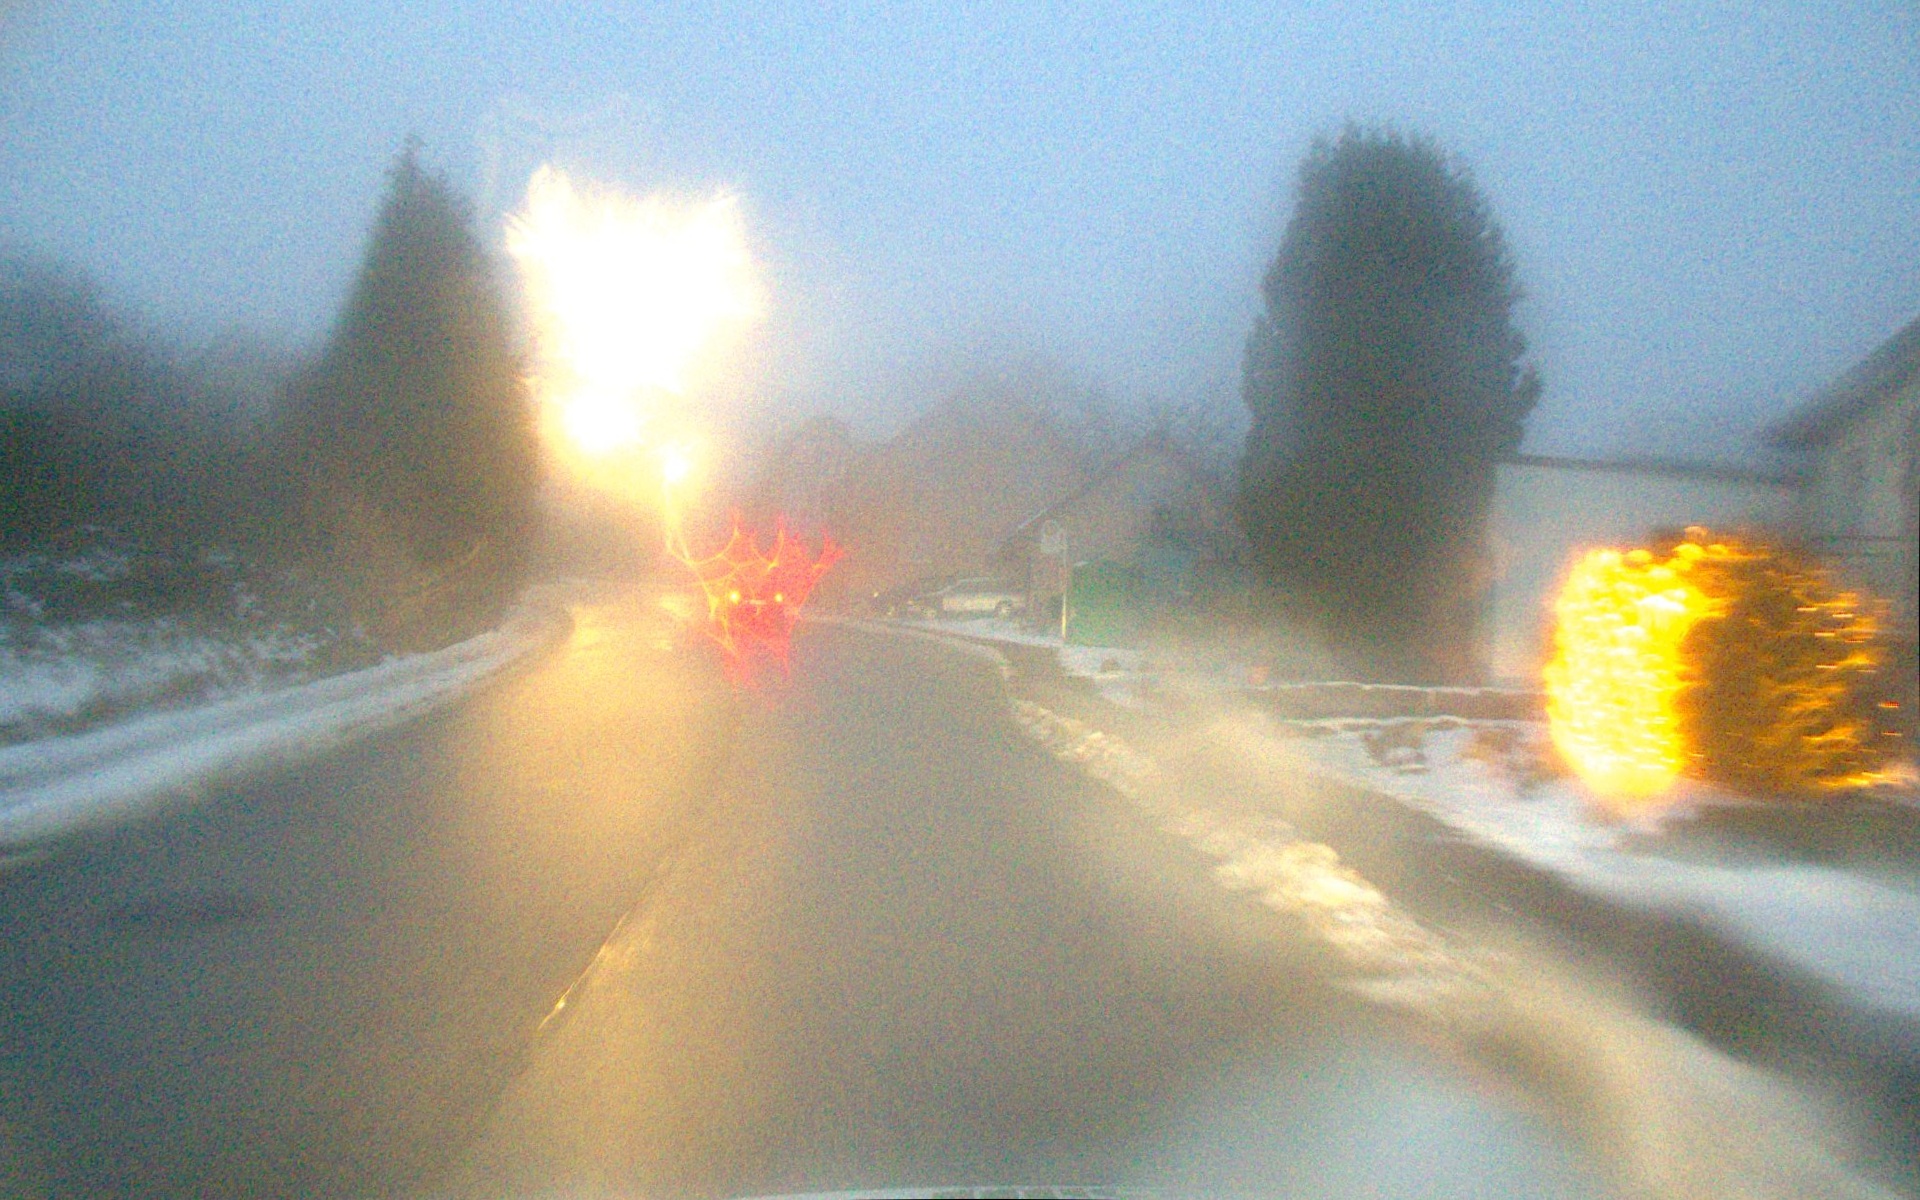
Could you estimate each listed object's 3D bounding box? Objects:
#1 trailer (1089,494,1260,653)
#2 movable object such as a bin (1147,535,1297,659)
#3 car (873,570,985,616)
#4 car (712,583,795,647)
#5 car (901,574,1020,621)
[{"bbox_3d":[5.270,-0.612,41.602,2.822,3.623,5.050,2,-1,-10],"label":"trailer"},{"bbox_3d":[5.769,-0.046,37.018,2.340,2.512,4.512,2,0,-3],"label":"movable object such as a bin"},{"bbox_3d":[-1.197,-0.246,61.988,4.077,1.586,1.944,1,-2,-5],"label":"car"},{"bbox_3d":[-6.100,0.476,48.491,1.960,1.767,3.863,1,-2,-14],"label":"car"},{"bbox_3d":[0.014,-0.072,59.092,4.156,1.586,2.000,0,-2,0],"label":"car"}]
